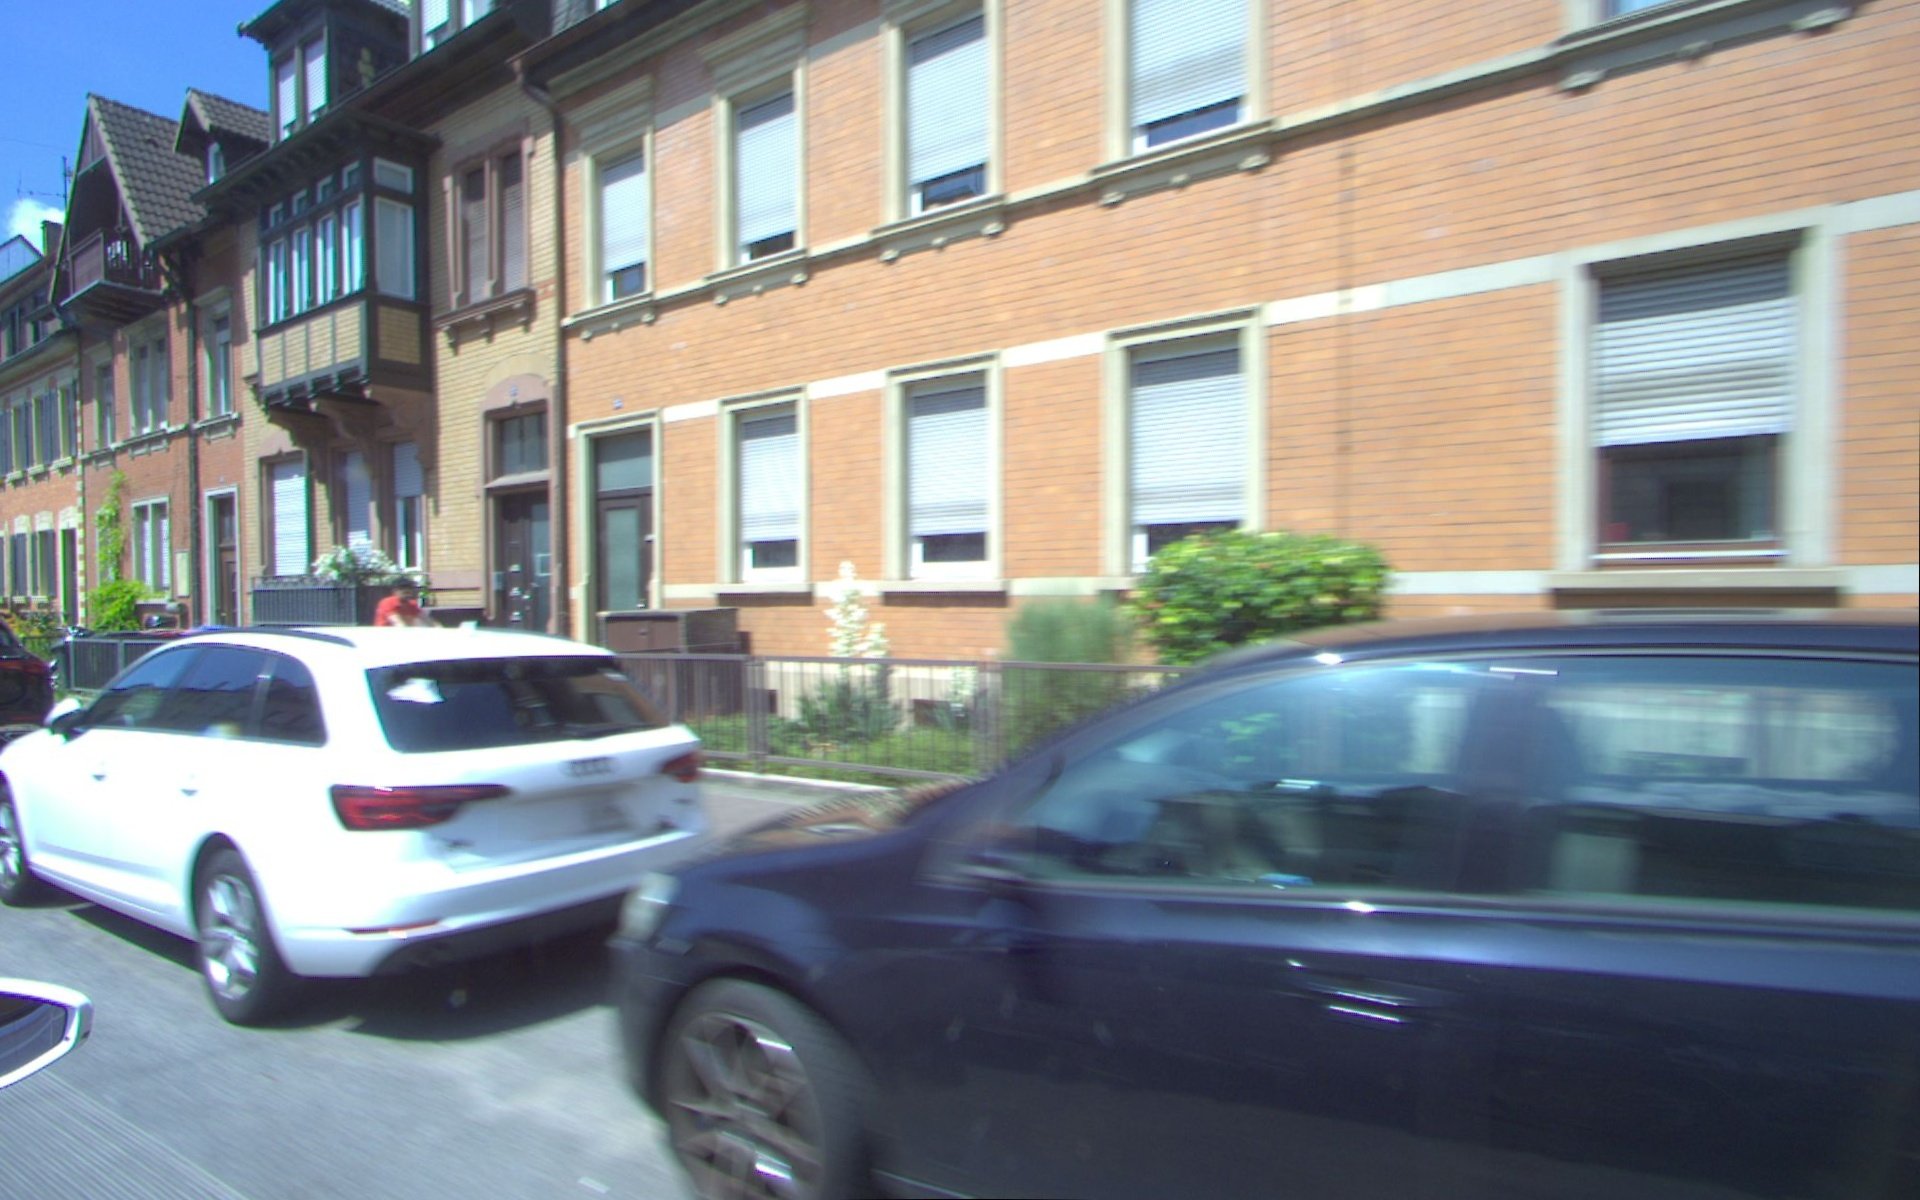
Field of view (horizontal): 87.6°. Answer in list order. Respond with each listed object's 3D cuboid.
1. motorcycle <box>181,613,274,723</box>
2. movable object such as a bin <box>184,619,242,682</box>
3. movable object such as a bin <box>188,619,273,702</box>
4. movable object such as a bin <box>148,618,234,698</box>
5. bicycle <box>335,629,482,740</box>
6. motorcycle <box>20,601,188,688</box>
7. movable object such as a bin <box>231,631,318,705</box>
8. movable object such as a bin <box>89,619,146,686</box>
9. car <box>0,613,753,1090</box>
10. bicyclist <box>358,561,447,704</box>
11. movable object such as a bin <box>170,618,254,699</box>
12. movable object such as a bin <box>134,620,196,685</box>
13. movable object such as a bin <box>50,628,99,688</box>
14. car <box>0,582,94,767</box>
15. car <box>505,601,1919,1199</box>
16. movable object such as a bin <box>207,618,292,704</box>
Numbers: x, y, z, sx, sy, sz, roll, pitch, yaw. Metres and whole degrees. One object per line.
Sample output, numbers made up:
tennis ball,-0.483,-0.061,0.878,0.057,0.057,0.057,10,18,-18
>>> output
motorcycle,-8.910,0.800,12.170,1.338,1.254,0.439,0,2,33
movable object such as a bin,-13.348,0.884,17.892,0.750,1.091,0.607,0,0,34
movable object such as a bin,-10.120,0.822,13.901,0.535,1.103,0.786,0,1,30
movable object such as a bin,-11.171,0.824,14.562,0.676,1.103,0.786,0,1,30
bicycle,-5.982,0.873,10.820,1.856,1.080,0.591,0,1,34
motorcycle,-15.597,0.772,18.308,0.924,1.427,2.123,0,2,32
movable object such as a bin,-9.085,0.888,13.280,0.531,0.919,0.786,0,1,30
movable object such as a bin,-14.105,0.867,16.772,0.717,1.090,0.555,0,0,34
car,-3.280,0.795,5.026,4.525,1.433,1.712,0,0,34
bicyclist,-6.040,0.345,10.857,0.780,1.489,0.531,0,1,34
movable object such as a bin,-10.608,0.812,14.209,0.545,1.103,0.786,0,1,30
movable object such as a bin,-13.736,0.892,17.302,0.738,1.069,0.657,0,0,34
movable object such as a bin,-14.407,0.934,16.301,0.519,0.953,0.480,0,1,34
car,-10.816,0.697,10.087,4.560,1.684,1.989,-1,0,33
car,1.134,0.738,2.356,4.431,1.433,1.648,-1,-1,27
movable object such as a bin,-9.639,0.810,13.599,0.531,1.103,0.786,0,1,30
